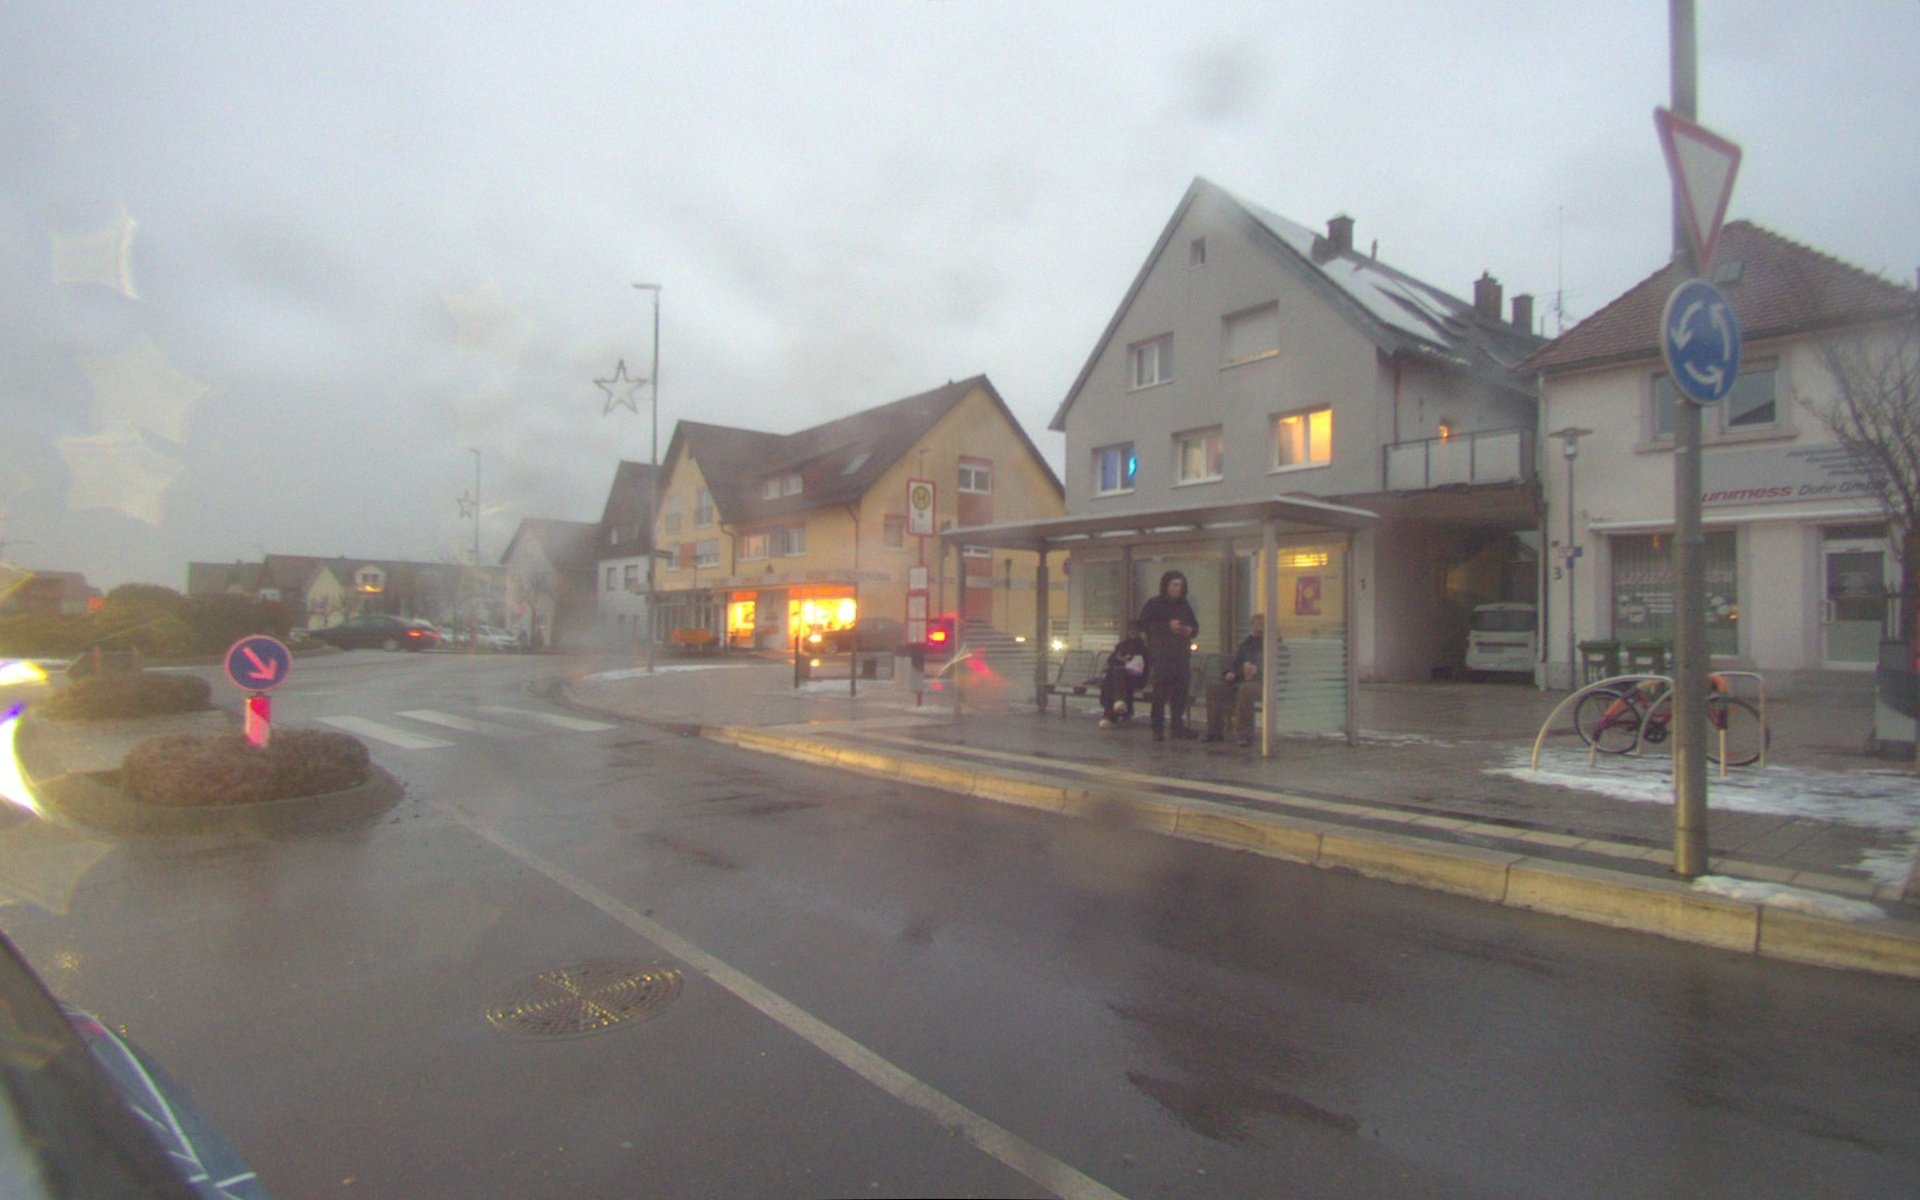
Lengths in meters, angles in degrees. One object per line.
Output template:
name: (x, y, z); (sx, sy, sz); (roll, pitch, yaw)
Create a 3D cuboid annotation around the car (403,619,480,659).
car: (-28.640, 2.122, 55.902); (3.953, 2.029, 1.908); (1, 1, 28)

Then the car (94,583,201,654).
car: (-24.920, 0.486, 31.196); (2.024, 2.002, 4.551); (0, 1, -32)

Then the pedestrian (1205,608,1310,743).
pedestrian: (2.996, 0.738, 10.205); (0.677, 1.281, 0.751); (0, -1, -44)

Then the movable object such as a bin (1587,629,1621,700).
movable object such as a bin: (11.468, 1.147, 18.023); (0.284, 1.219, 0.454); (0, 1, -43)

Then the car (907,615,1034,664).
car: (0.332, 1.267, 33.417); (3.831, 1.514, 1.713); (0, -1, -18)

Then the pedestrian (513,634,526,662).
pedestrian: (-26.175, 2.869, 60.128); (0.574, 1.623, 0.500); (0, 1, -44)

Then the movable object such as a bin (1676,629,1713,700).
movable object such as a bin: (12.361, 1.077, 17.039); (0.284, 1.151, 0.454); (0, 1, -43)

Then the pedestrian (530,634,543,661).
pedestrian: (-25.567, 2.858, 61.084); (0.574, 1.623, 0.500); (0, 1, -44)

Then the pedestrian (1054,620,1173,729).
pedestrian: (1.768, 0.843, 11.701); (0.976, 1.167, 0.903); (0, -3, -39)

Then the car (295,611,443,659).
car: (-21.408, 1.245, 36.750); (4.314, 1.617, 1.888); (1, 1, 2)

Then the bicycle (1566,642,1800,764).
bicycle: (6.751, 0.917, 9.551); (0.463, 1.018, 1.744); (1, -2, -32)

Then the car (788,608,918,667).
car: (-3.983, 1.336, 37.742); (4.389, 2.029, 2.006); (0, 1, -32)

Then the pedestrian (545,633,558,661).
pedestrian: (-24.877, 2.853, 61.662); (0.574, 1.623, 0.500); (0, 1, -44)

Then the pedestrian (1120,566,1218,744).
pedestrian: (2.176, 0.551, 10.525); (0.687, 1.755, 0.740); (-2, -1, 41)

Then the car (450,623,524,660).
car: (-27.158, 2.375, 58.103); (3.854, 1.895, 1.917); (1, 1, 28)

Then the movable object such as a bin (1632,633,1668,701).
movable object such as a bin: (11.936, 1.146, 17.517); (0.284, 1.129, 0.454); (0, 1, -43)

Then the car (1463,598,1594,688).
car: (12.849, 0.937, 22.807); (3.373, 1.867, 1.516); (1, -1, -40)
